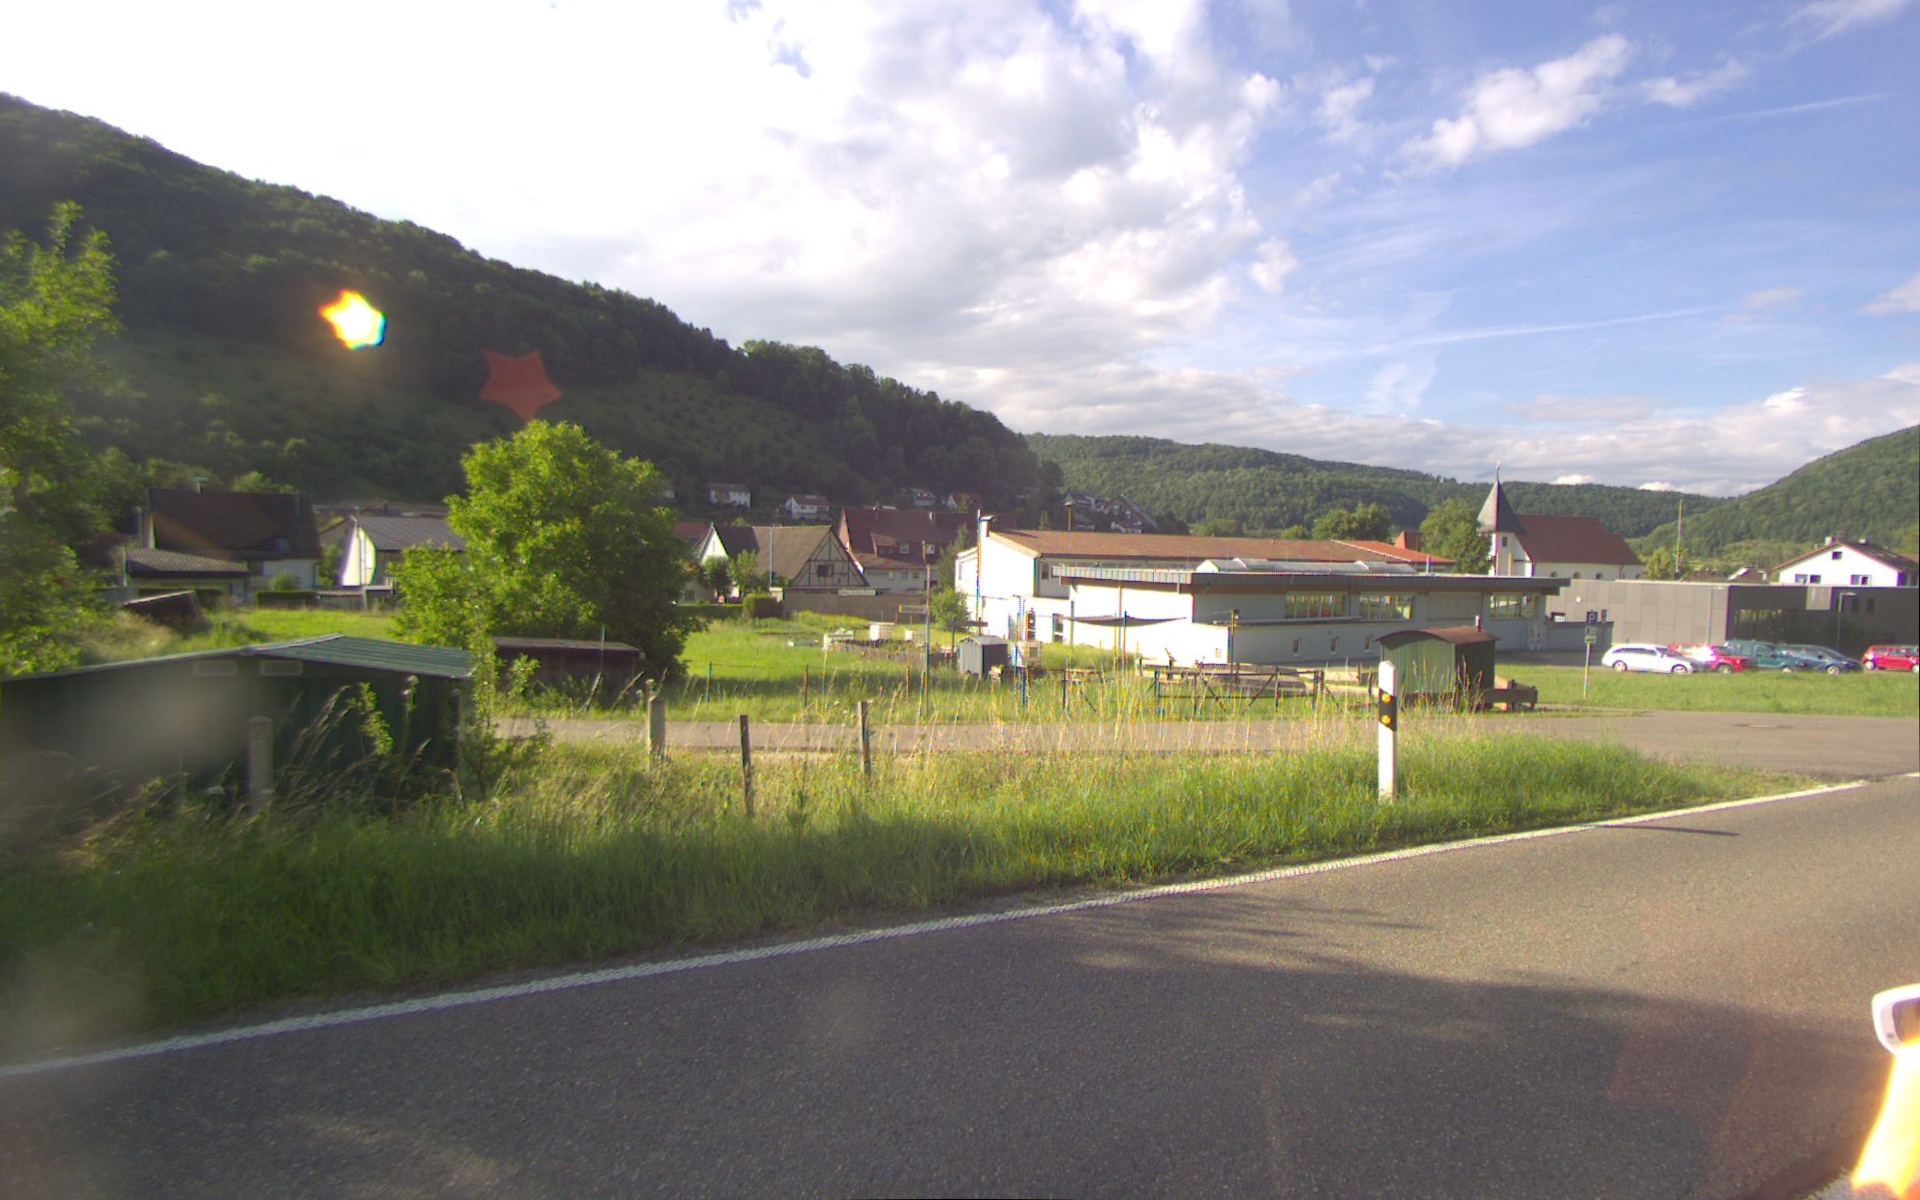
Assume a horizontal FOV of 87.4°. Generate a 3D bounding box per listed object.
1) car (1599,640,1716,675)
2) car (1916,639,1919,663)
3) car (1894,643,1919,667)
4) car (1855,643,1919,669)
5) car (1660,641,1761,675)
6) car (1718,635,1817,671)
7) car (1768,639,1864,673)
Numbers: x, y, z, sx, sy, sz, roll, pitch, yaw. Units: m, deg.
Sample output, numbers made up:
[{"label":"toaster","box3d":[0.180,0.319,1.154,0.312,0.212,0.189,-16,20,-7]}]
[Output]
[{"label":"car","box3d":[36.011,2.935,51.986,1.973,1.610,4.627,2,-1,-25]},{"label":"car","box3d":[64.528,3.350,64.914,1.574,1.513,3.656,1,-1,-24]},{"label":"car","box3d":[61.660,3.524,63.403,1.575,1.423,3.615,4,-2,-24]},{"label":"car","box3d":[57.250,3.413,61.288,1.626,1.463,3.615,1,-1,-24]},{"label":"car","box3d":[39.129,3.000,52.457,1.732,1.600,3.908,1,-1,-25]},{"label":"car","box3d":[44.070,2.862,54.908,1.733,1.745,3.847,2,0,-27]},{"label":"car","box3d":[48.318,3.123,56.777,1.709,1.744,3.806,1,-1,-25]}]
